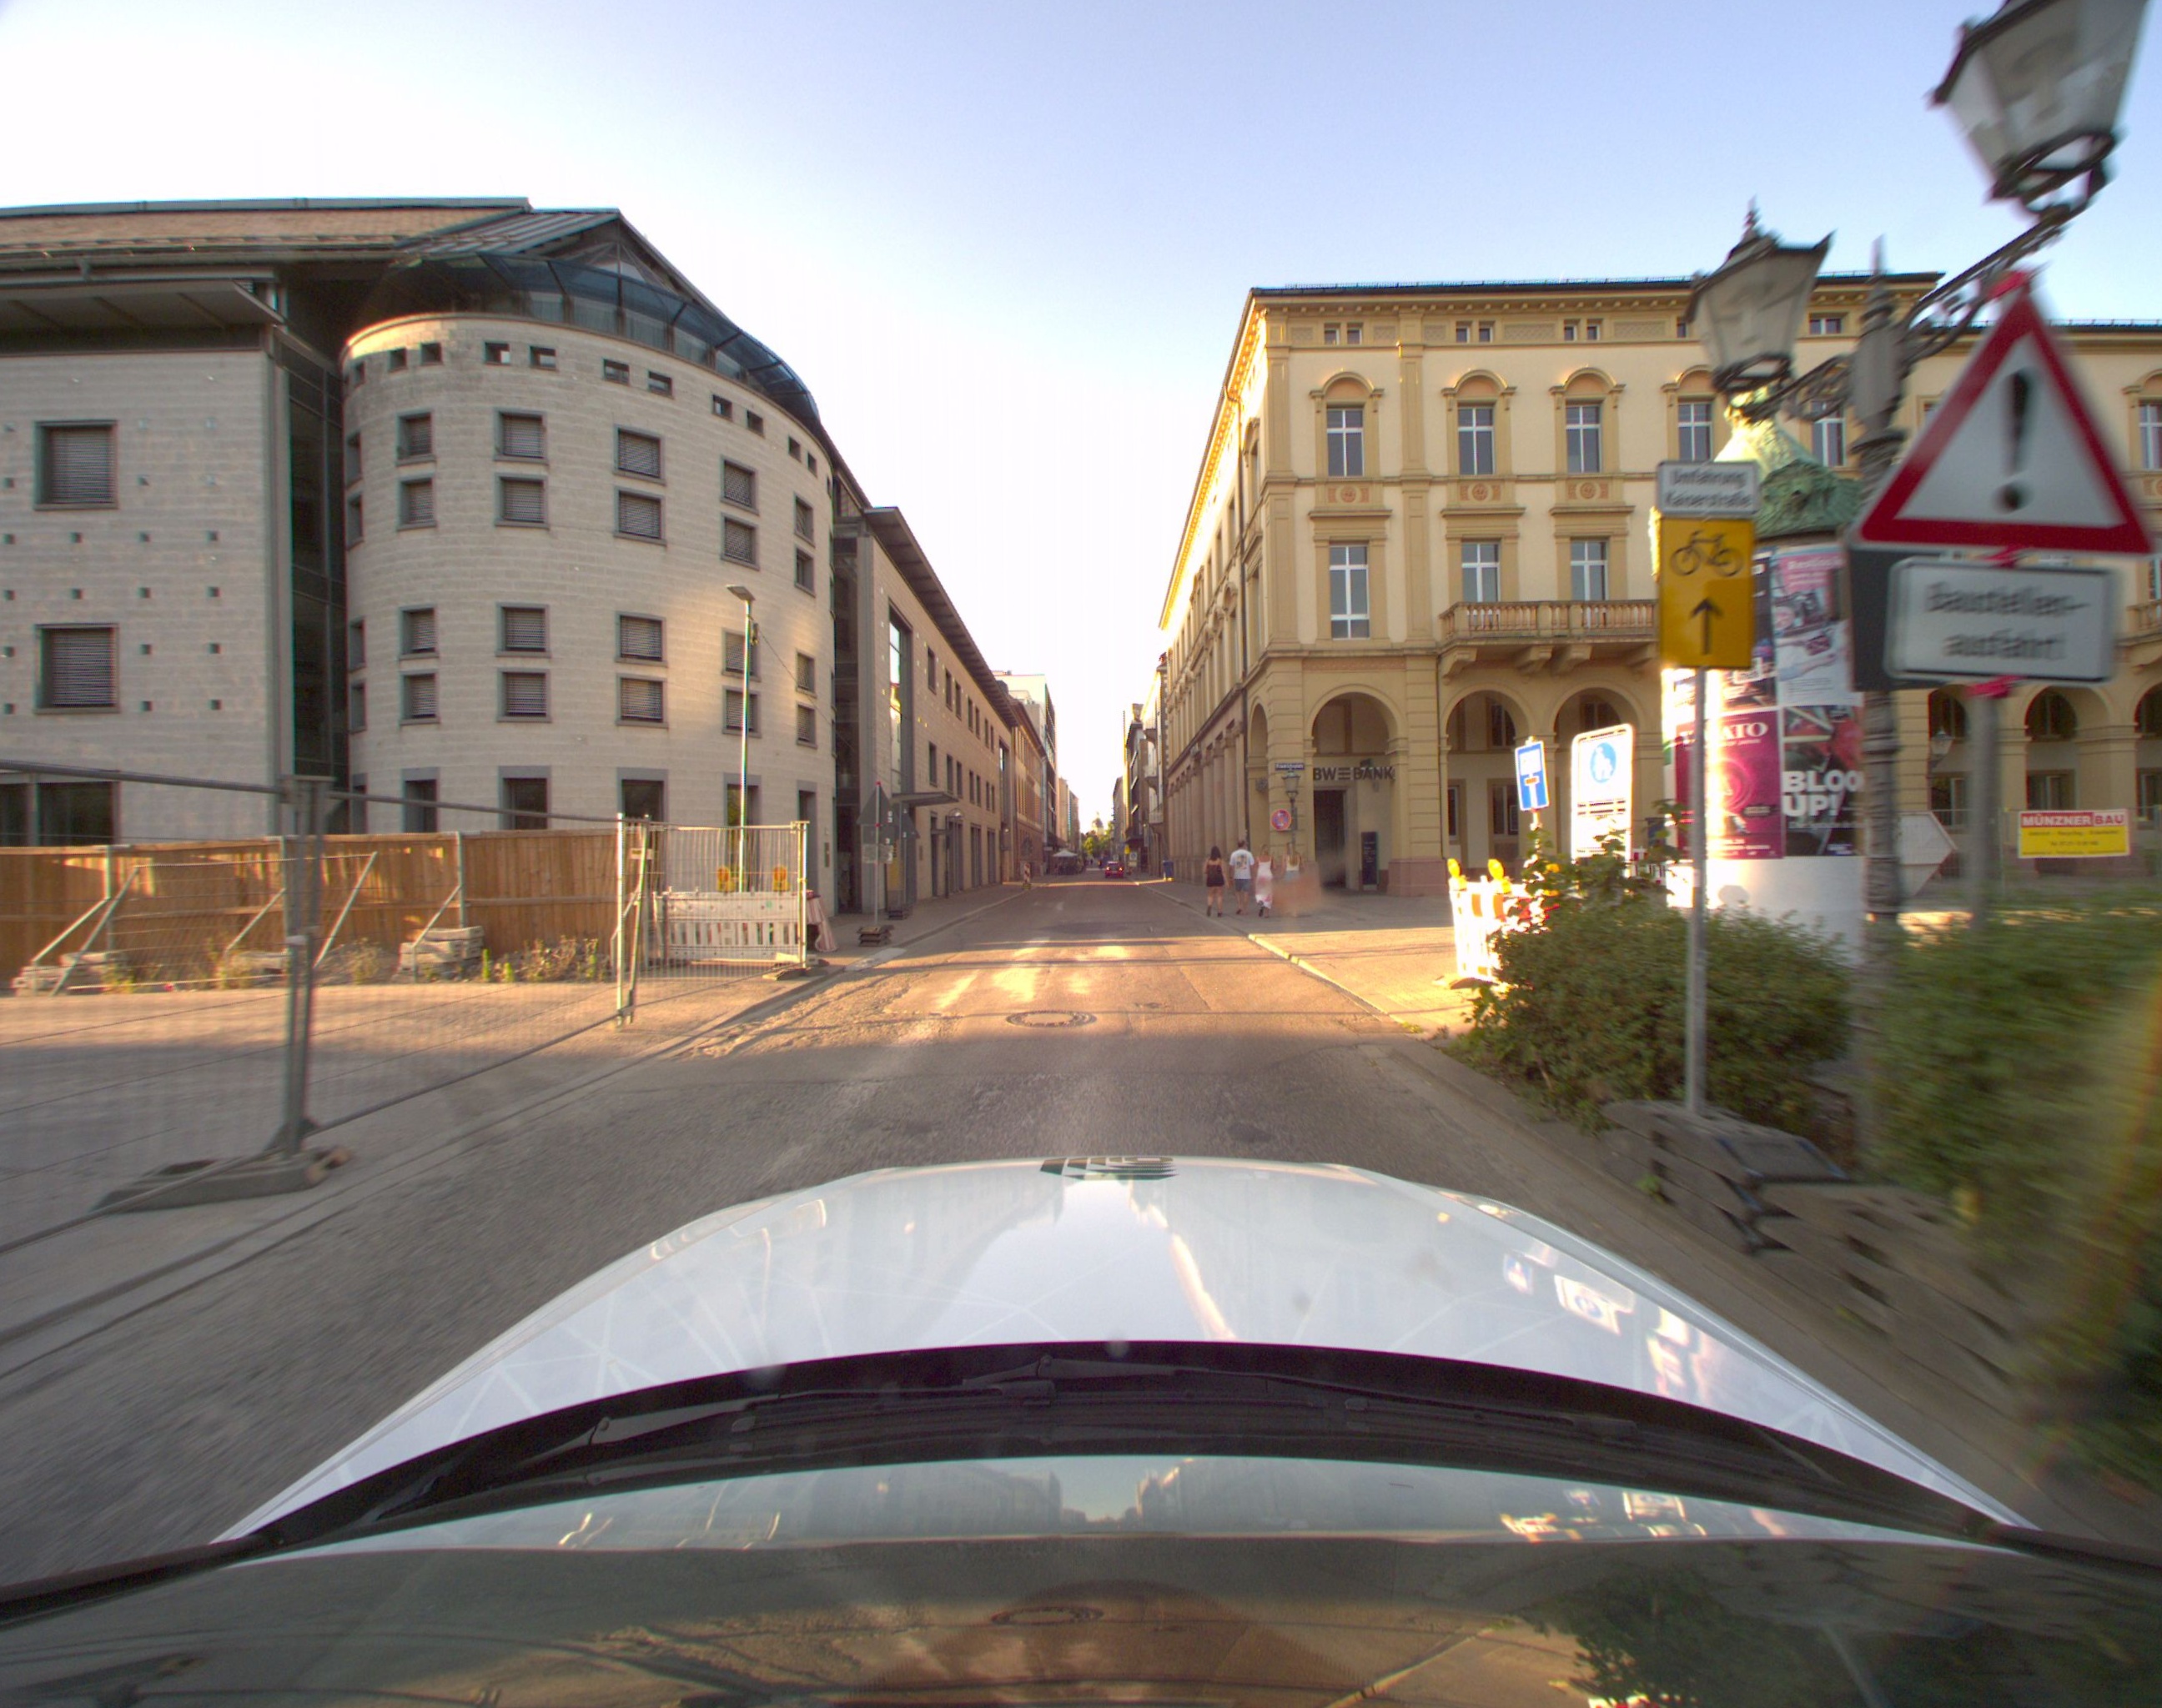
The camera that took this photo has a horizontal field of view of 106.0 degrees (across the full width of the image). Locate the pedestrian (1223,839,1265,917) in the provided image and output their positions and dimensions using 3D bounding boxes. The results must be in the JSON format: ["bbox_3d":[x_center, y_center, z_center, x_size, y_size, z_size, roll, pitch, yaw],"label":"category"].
[{"bbox_3d":[4.035,0.585,20.215,0.809,1.875,0.875,-2,-1,0],"label":"pedestrian"}]

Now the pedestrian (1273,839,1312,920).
[{"bbox_3d":[4.864,0.587,18.770,0.634,1.803,0.772,-2,-1,0],"label":"pedestrian"}]

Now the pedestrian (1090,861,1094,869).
[{"bbox_3d":[2.380,2.333,175.070,0.801,1.673,0.889,-1,-1,3],"label":"pedestrian"}]

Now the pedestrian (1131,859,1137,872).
[{"bbox_3d":[6.096,1.349,93.423,0.654,1.488,0.493,-2,-1,3],"label":"pedestrian"}]

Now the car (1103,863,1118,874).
[{"bbox_3d":[4.471,2.143,123.565,1.987,1.611,3.999,-1,-1,0],"label":"car"}]

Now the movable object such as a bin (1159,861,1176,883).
[{"bbox_3d":[5.654,1.156,53.404,0.987,1.392,1.240,-2,-1,0],"label":"movable object such as a bin"}]

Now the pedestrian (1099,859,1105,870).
[{"bbox_3d":[3.393,1.658,130.159,0.862,1.713,0.852,-1,-1,1],"label":"pedestrian"}]

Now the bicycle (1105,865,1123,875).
[{"bbox_3d":[3.938,1.891,96.266,2.047,1.134,0.648,-1,-1,-3],"label":"bicycle"}]

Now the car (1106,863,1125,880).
[{"bbox_3d":[3.138,1.604,74.321,1.643,1.427,3.536,2,-1,2],"label":"car"}]

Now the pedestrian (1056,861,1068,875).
[{"bbox_3d":[-2.117,1.562,90.086,1.287,1.488,0.661,-1,-1,-1],"label":"pedestrian"}]

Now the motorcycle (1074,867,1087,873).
[{"bbox_3d":[-0.011,2.276,114.309,1.797,0.875,0.560,-1,-1,-4],"label":"motorcycle"}]

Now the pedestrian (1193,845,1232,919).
[{"bbox_3d":[3.182,0.669,19.757,0.773,1.746,0.875,-2,-1,0],"label":"pedestrian"}]

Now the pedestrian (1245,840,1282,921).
[{"bbox_3d":[4.198,0.599,18.757,0.634,1.803,0.772,-2,-1,0],"label":"pedestrian"}]
